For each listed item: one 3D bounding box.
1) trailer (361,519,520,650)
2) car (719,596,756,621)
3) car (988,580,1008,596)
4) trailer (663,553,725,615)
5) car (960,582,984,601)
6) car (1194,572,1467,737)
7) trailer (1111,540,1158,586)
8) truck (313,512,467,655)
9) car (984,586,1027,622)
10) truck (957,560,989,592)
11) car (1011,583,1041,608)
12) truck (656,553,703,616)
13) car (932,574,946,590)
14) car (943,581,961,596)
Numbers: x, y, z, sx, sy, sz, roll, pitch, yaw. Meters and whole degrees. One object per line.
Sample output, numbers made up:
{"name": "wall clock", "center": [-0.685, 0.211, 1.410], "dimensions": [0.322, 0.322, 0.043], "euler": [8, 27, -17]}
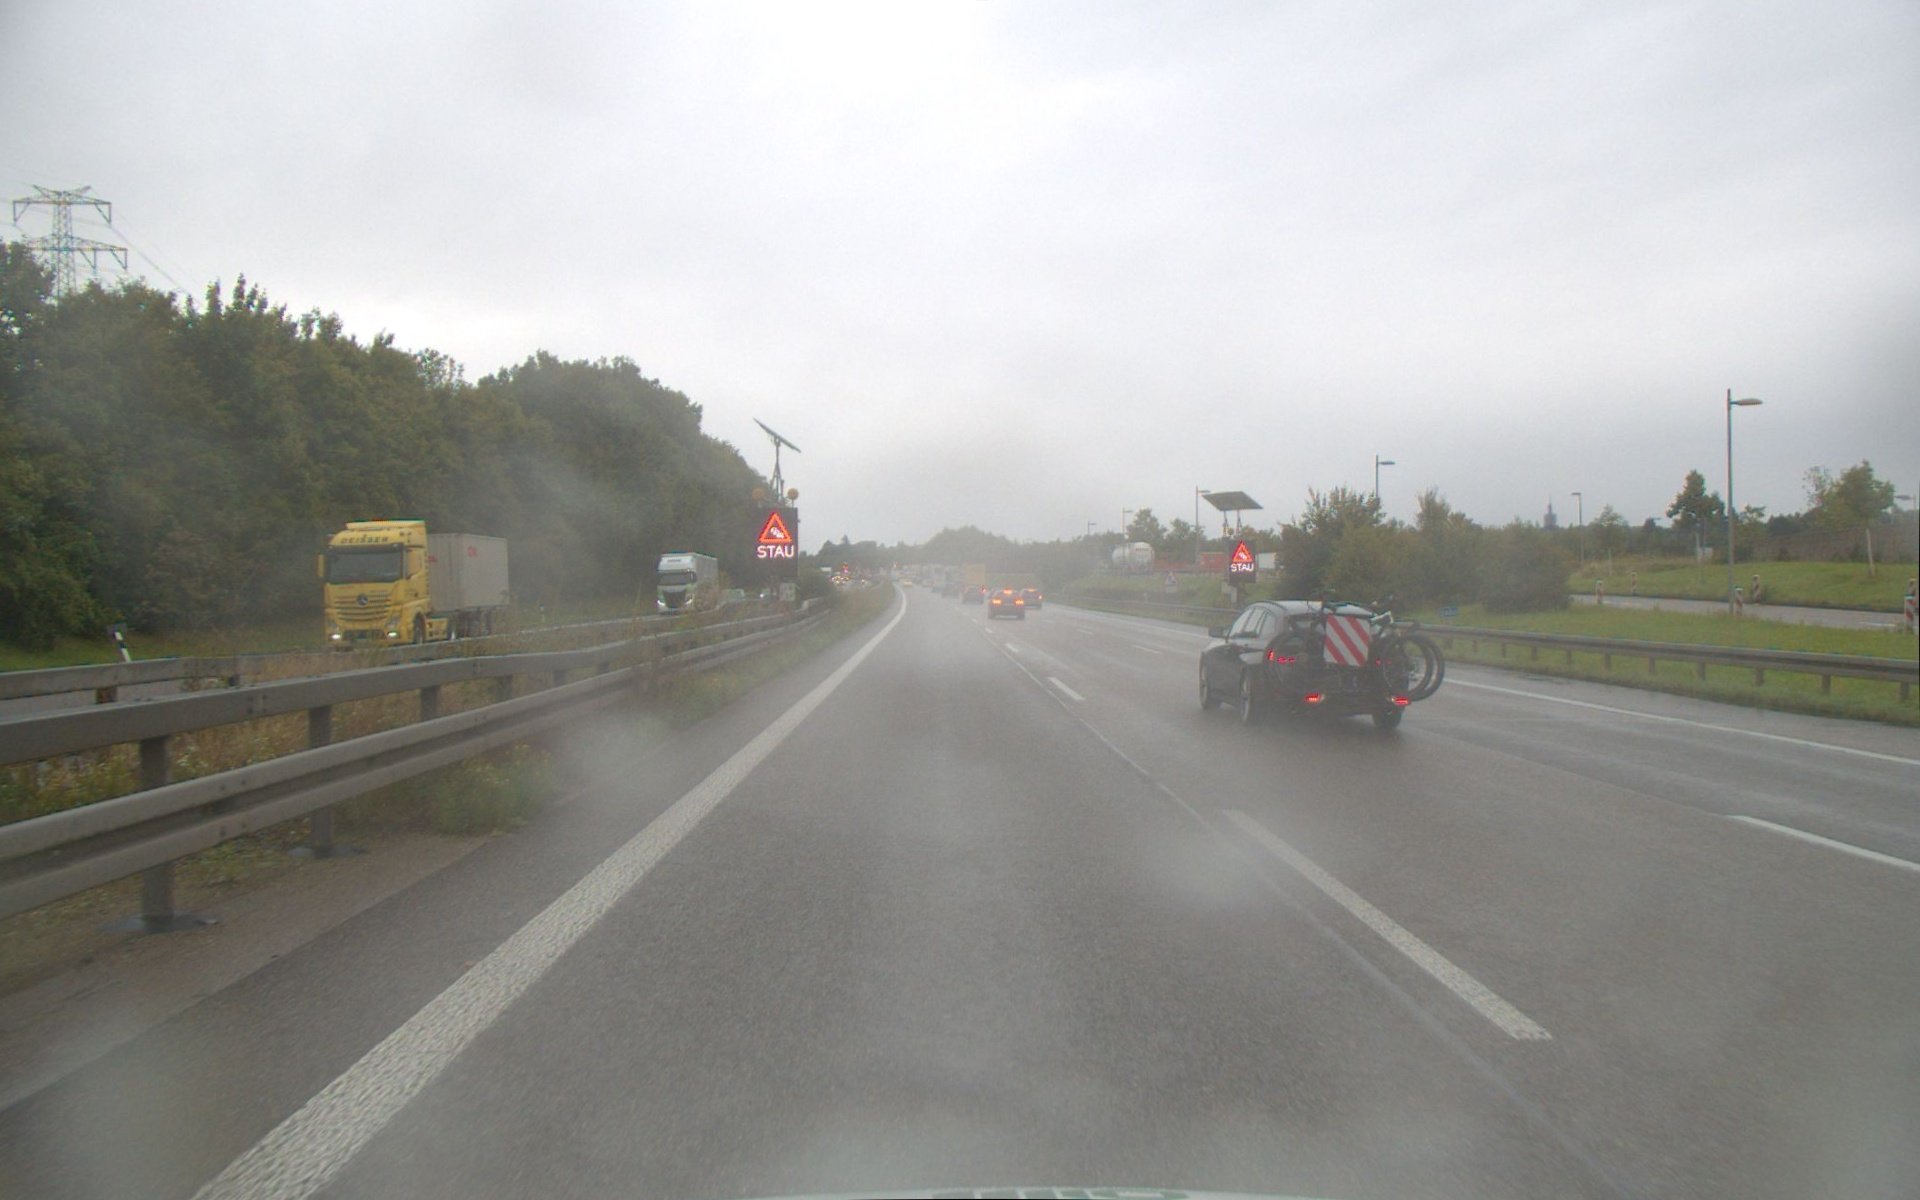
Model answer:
{"name": "trailer", "center": [-17.913, -0.537, 57.708], "dimensions": [2.706, 4.126, 9.198], "euler": [-2, 0, -1]}
{"name": "car", "center": [-14.505, 0.543, 108.192], "dimensions": [1.837, 1.519, 4.513], "euler": [-2, 0, -1]}
{"name": "car", "center": [4.052, -1.272, 177.998], "dimensions": [1.953, 1.657, 3.999], "euler": [-1, 0, -2]}
{"name": "trailer", "center": [-19.706, -1.175, 123.233], "dimensions": [2.590, 4.311, 13.908], "euler": [-1, 1, -1]}
{"name": "car", "center": [1.045, -0.756, 143.847], "dimensions": [1.953, 1.657, 3.999], "euler": [-1, 0, -2]}
{"name": "car", "center": [4.273, 0.595, 20.081], "dimensions": [2.016, 1.700, 5.520], "euler": [1, -1, -1]}
{"name": "trailer", "center": [17.115, -3.557, 163.123], "dimensions": [2.925, 4.229, 12.952], "euler": [-1, 0, -2]}
{"name": "truck", "center": [-17.765, -0.521, 51.961], "dimensions": [2.706, 4.126, 6.155], "euler": [-2, 0, -1]}
{"name": "car", "center": [2.324, 0.186, 84.793], "dimensions": [1.953, 1.791, 3.999], "euler": [-1, 0, -2]}
{"name": "truck", "center": [1.638, -3.120, 220.621], "dimensions": [3.845, 4.051, 12.236], "euler": [-1, 0, -2]}
{"name": "car", "center": [4.928, -0.318, 123.228], "dimensions": [1.953, 1.791, 3.999], "euler": [-1, 0, -2]}
{"name": "truck", "center": [-19.568, -1.107, 115.509], "dimensions": [2.590, 4.311, 3.999], "euler": [-1, 0, -1]}
{"name": "car", "center": [-3.069, -2.553, 239.162], "dimensions": [1.953, 2.243, 3.999], "euler": [-1, 0, -2]}
{"name": "car", "center": [-0.898, -1.258, 185.724], "dimensions": [1.953, 1.657, 3.999], "euler": [-1, 0, -2]}
